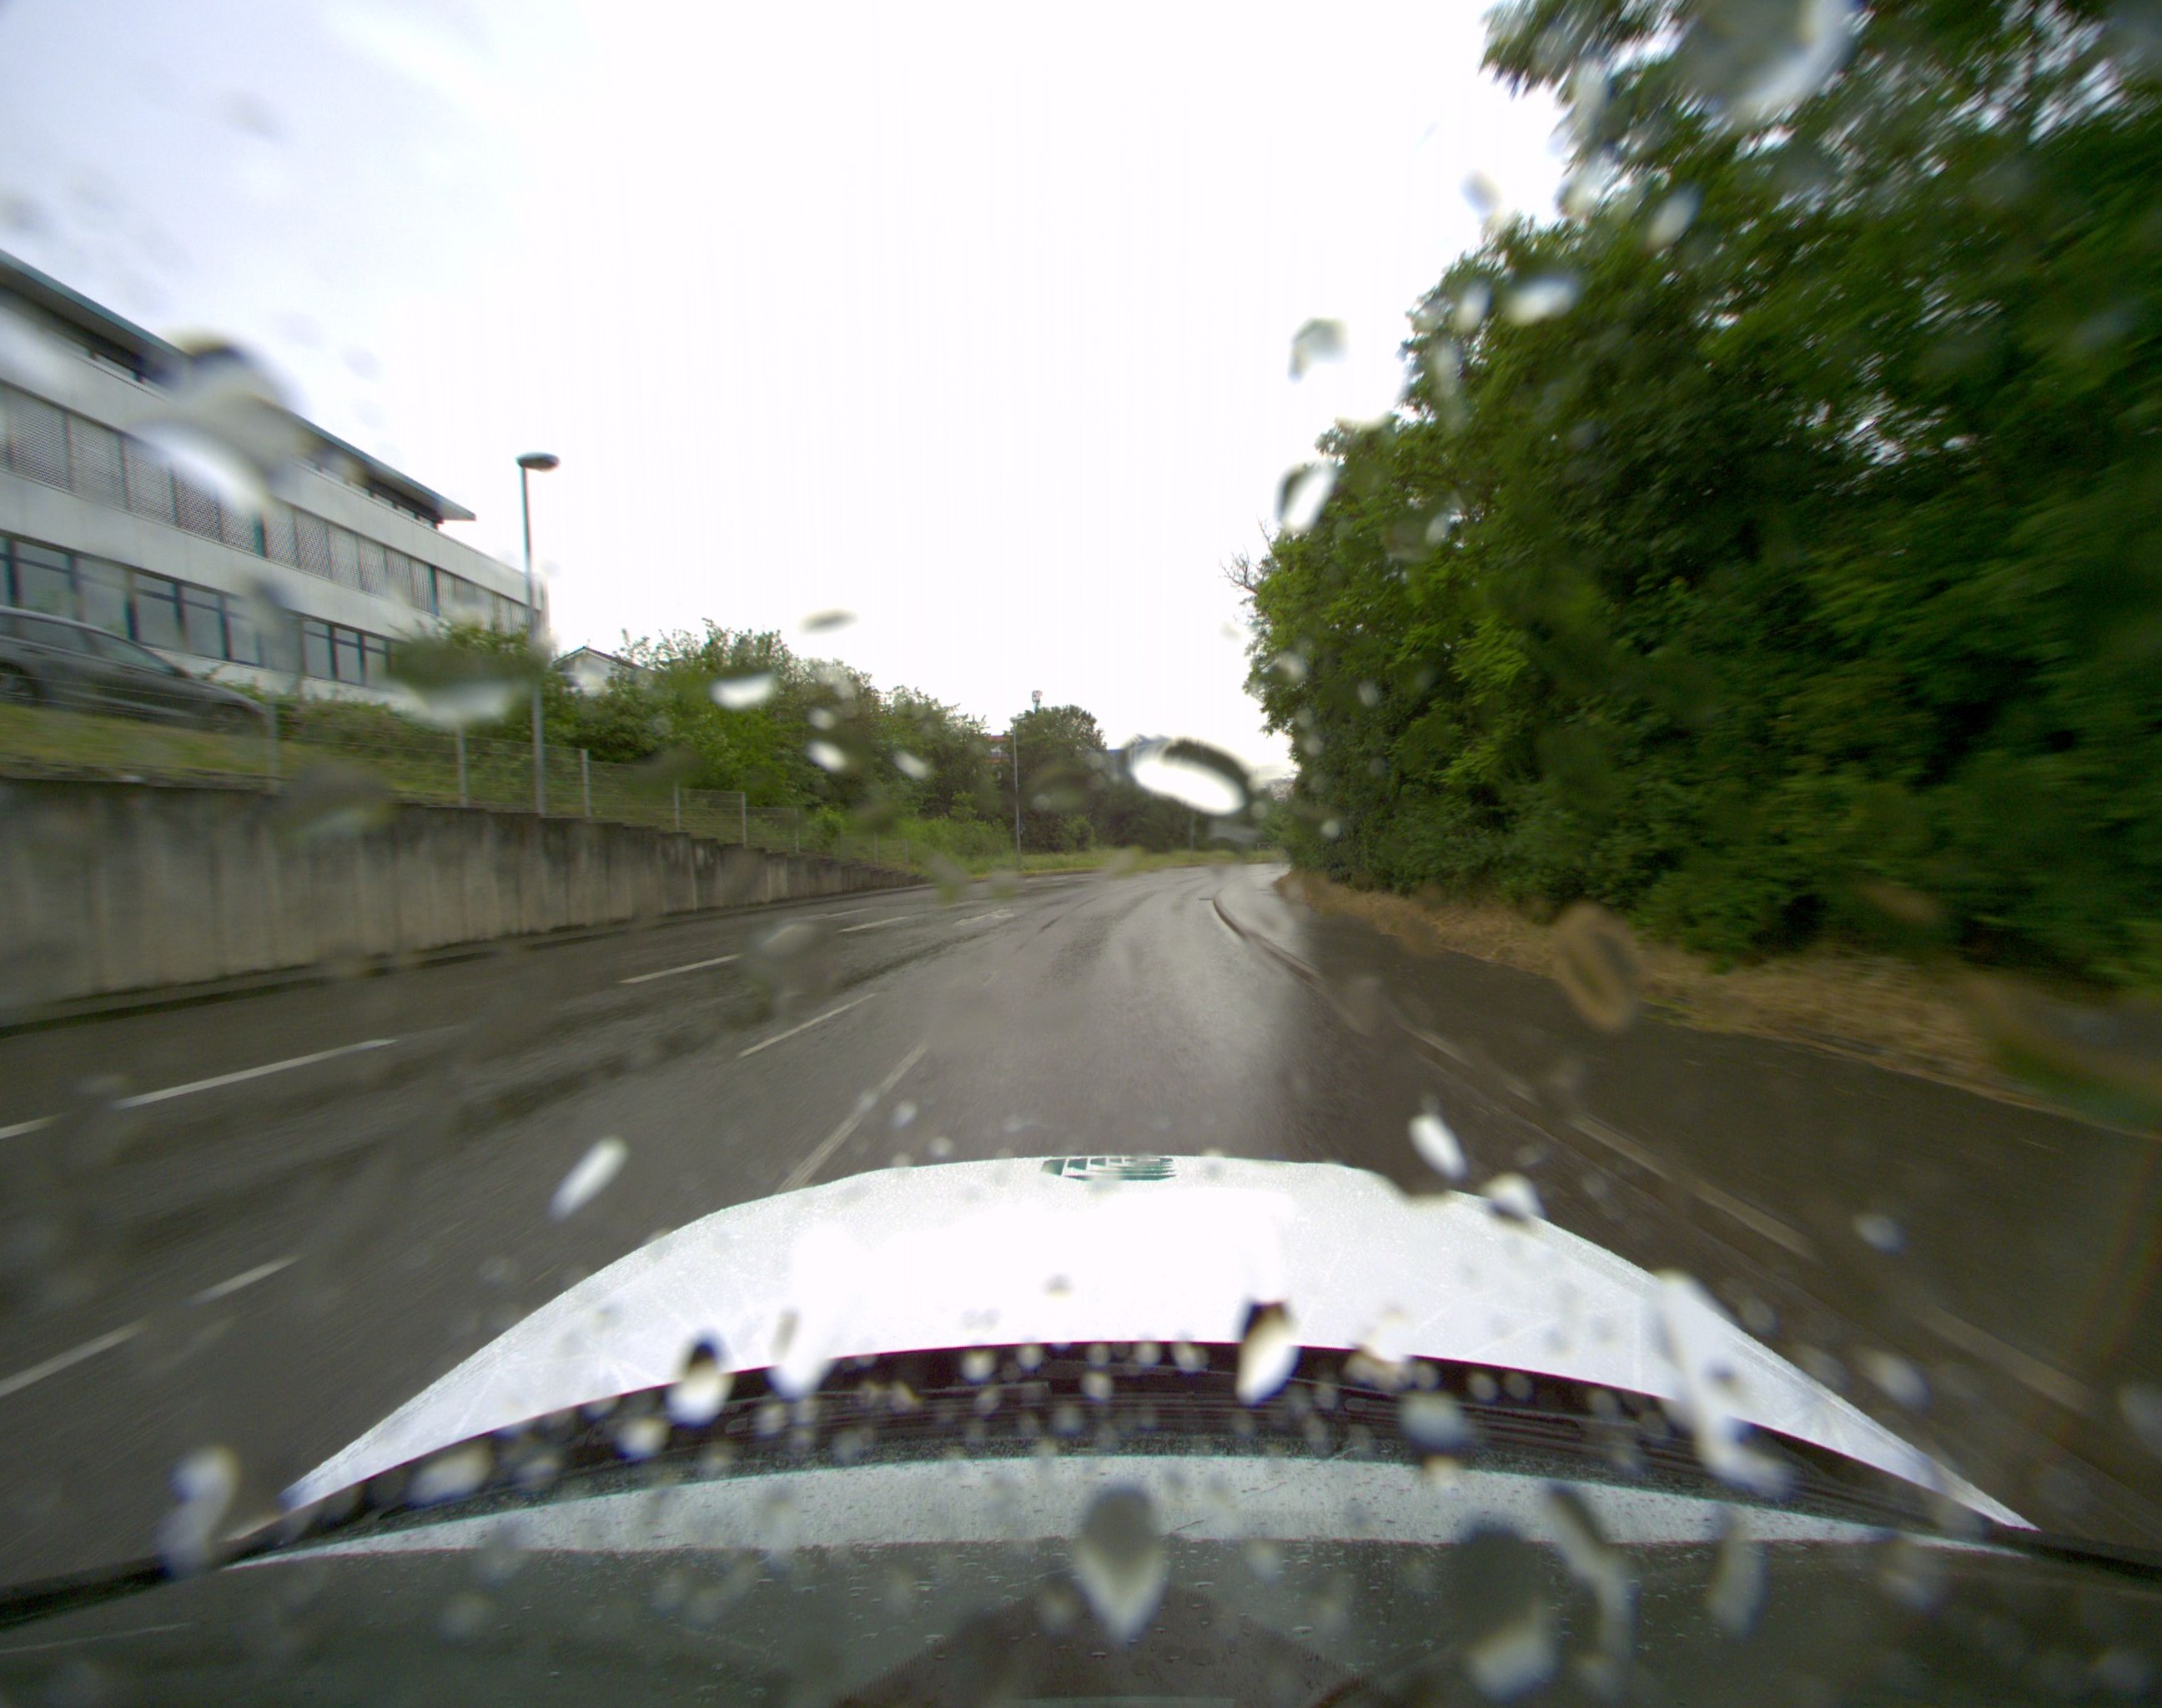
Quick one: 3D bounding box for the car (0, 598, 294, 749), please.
[{"bbox_3d":[-14.069,-2.433,11.235,1.906,1.342,4.535,0,0,2],"label":"car"}]
